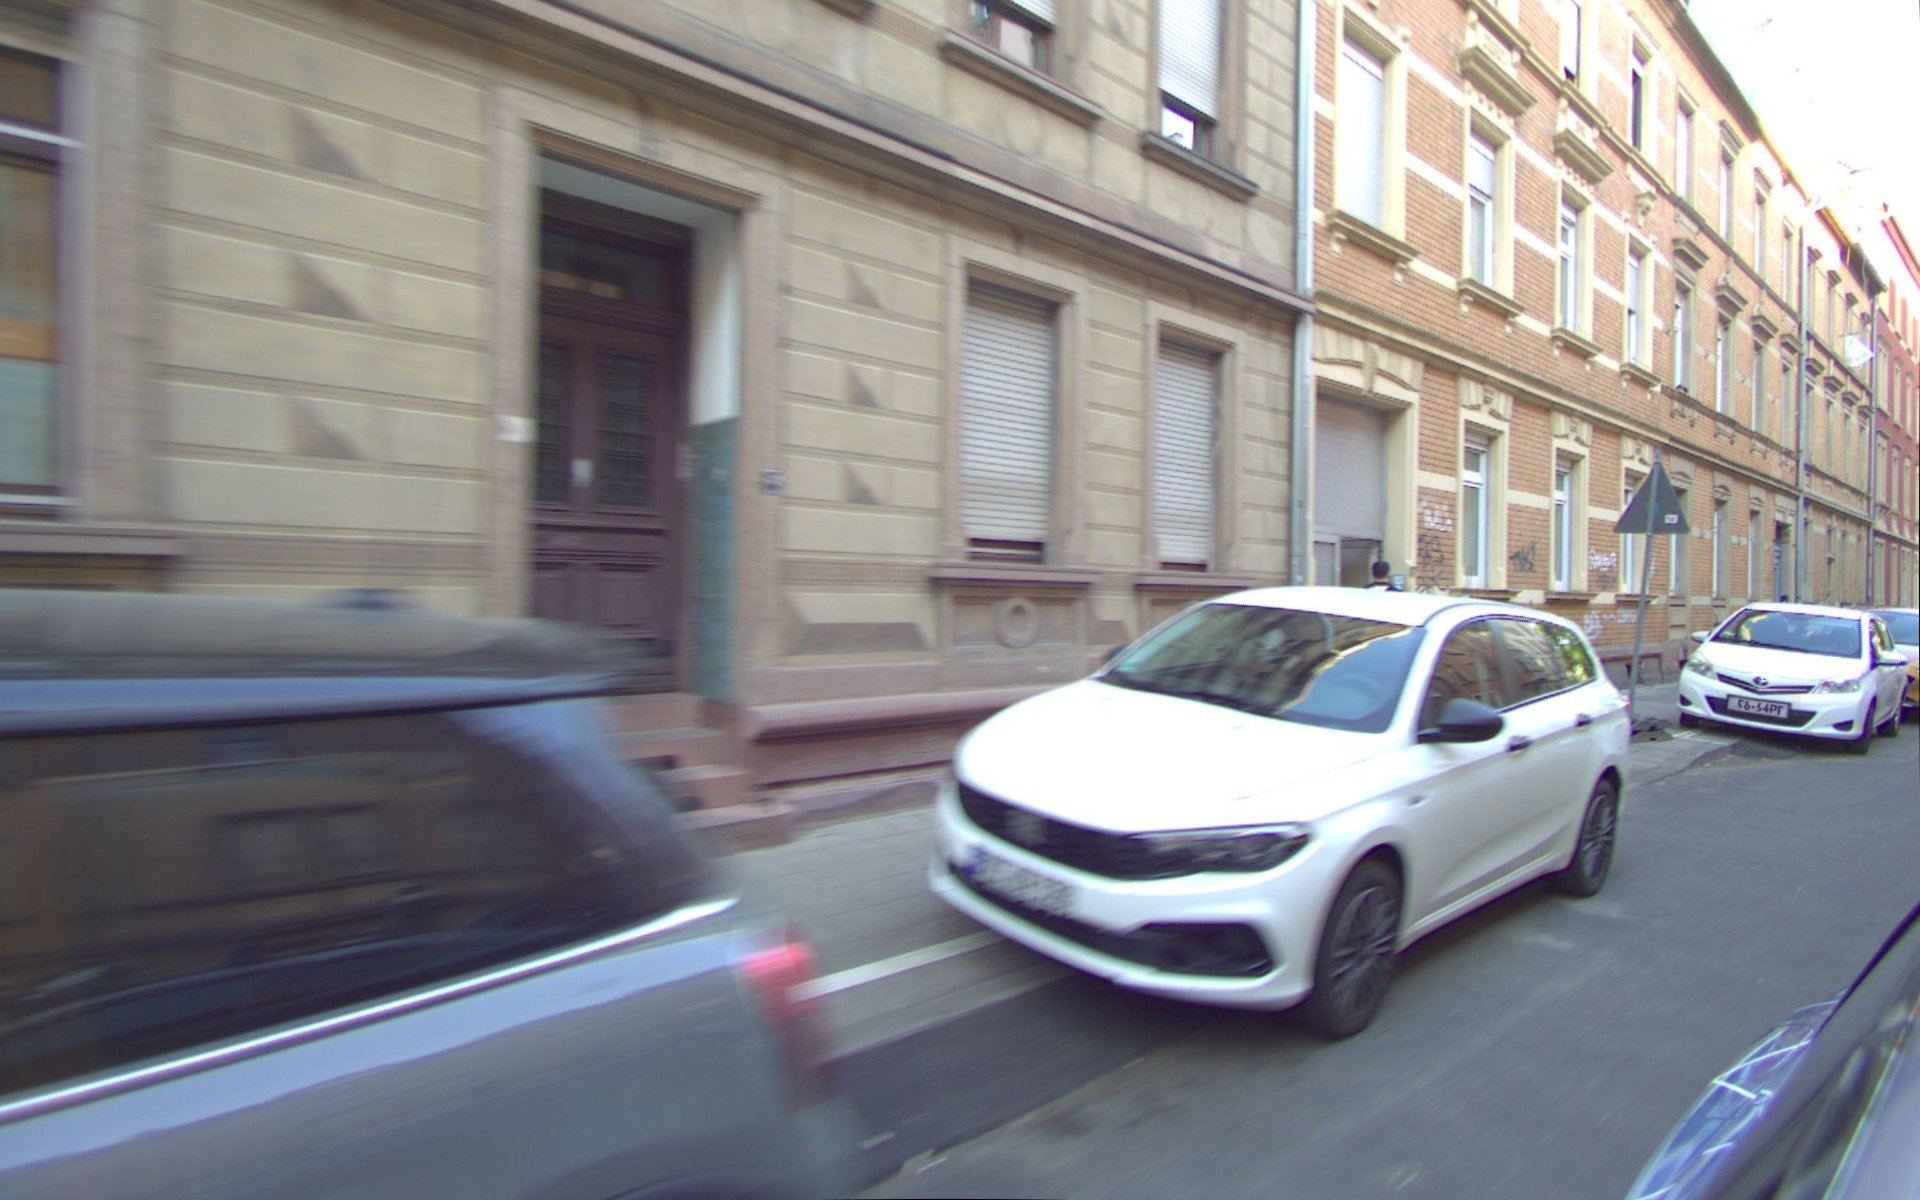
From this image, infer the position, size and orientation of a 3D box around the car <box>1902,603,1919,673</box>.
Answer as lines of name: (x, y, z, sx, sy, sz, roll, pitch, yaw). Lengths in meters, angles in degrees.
car: (21.438, 0.800, 21.371, 4.240, 1.414, 1.781, 1, 0, -40)

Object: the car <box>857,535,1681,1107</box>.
car: (1.814, 0.593, 4.928, 4.366, 1.536, 1.758, 0, 4, -42)

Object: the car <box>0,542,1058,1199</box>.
car: (-2.062, 0.682, 0.920, 4.210, 1.470, 1.759, 1, 4, -39)

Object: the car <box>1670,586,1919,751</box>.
car: (9.989, 0.664, 11.904, 4.012, 1.498, 1.724, 0, 4, -42)

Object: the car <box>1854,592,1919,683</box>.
car: (17.358, 0.658, 17.972, 4.024, 1.434, 1.729, 0, 4, -43)

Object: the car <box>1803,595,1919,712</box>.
car: (13.888, 0.710, 14.856, 4.000, 1.463, 1.757, 0, 4, -43)

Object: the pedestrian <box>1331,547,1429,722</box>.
pedestrian: (4.156, 0.313, 10.077, 0.644, 1.650, 0.879, 1, 2, 8)
